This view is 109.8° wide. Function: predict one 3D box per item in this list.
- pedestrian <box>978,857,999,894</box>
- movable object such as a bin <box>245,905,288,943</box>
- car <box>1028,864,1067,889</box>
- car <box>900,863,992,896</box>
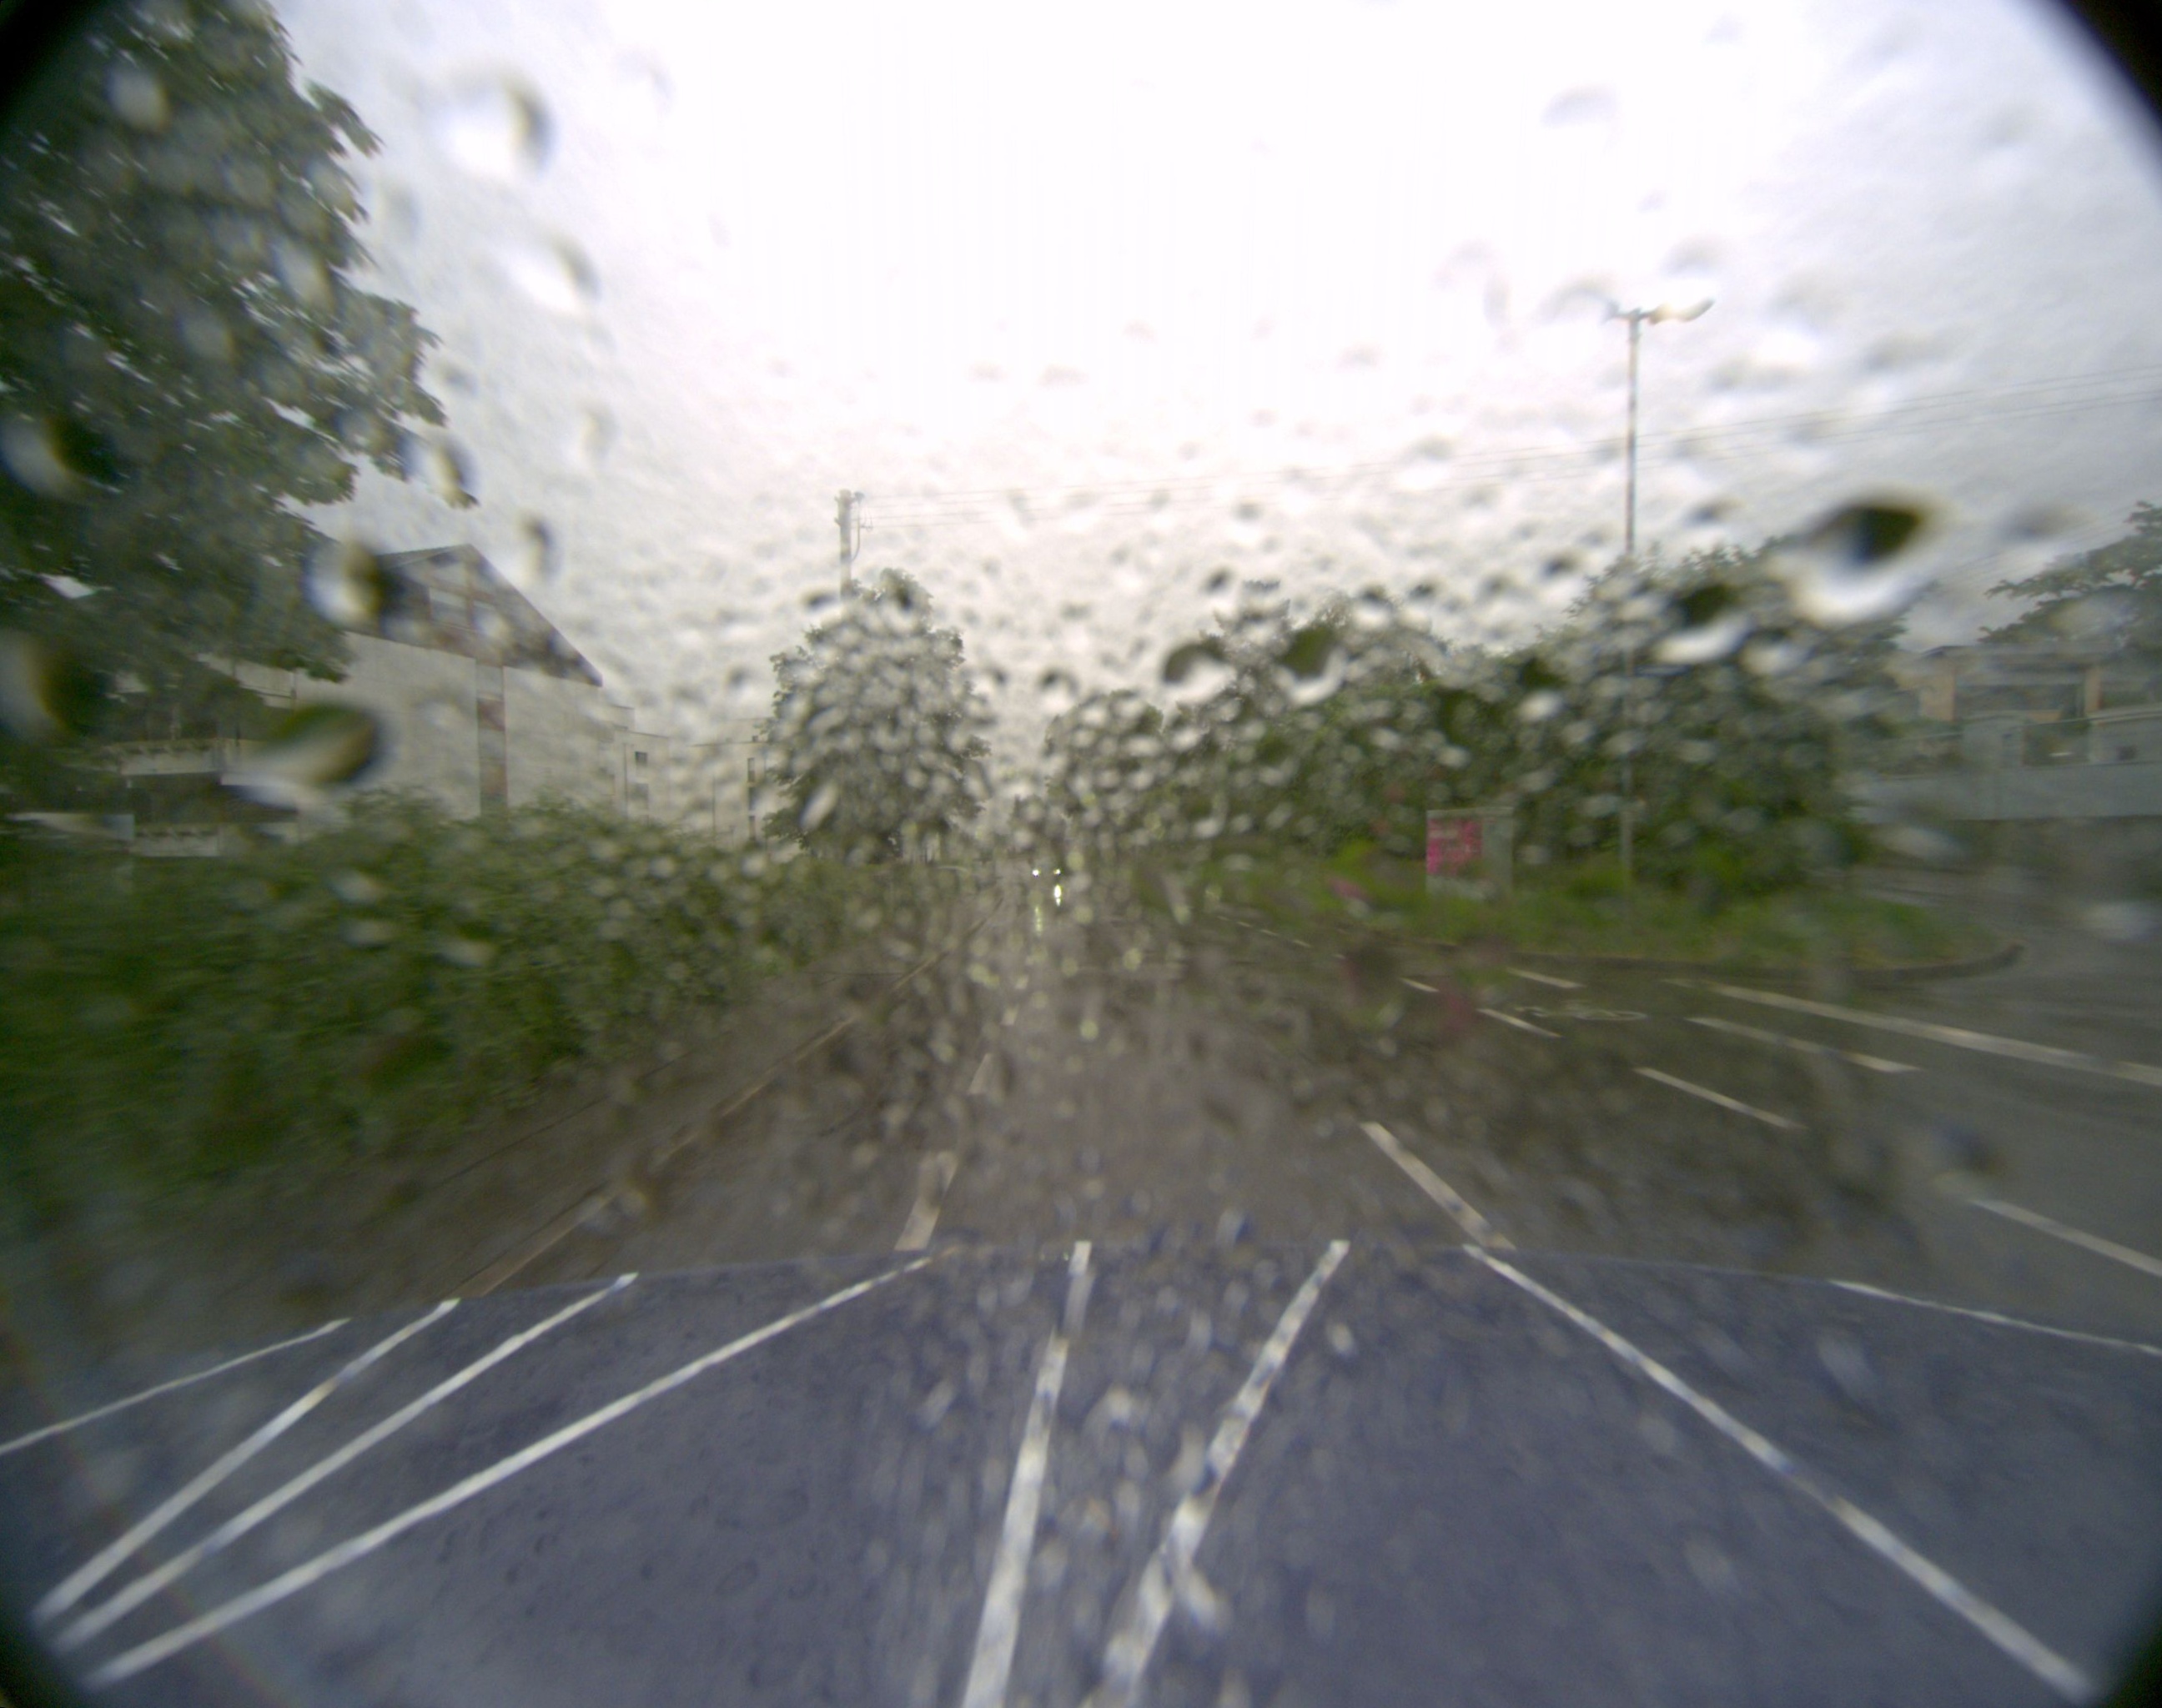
[{"bbox_3d":[-3.915,0.907,32.162,0.770,1.517,0.873,1,0,-1],"label":"pedestrian"},{"bbox_3d":[-25.294,2.165,23.598,0.737,1.121,0.605,-3,0,15],"label":"movable object such as a bin"},{"bbox_3d":[-2.314,1.516,51.331,1.801,1.543,3.996,-3,0,-14],"label":"car"},{"bbox_3d":[-7.517,1.419,42.690,4.810,1.406,1.807,-4,1,-2],"label":"car"}]
